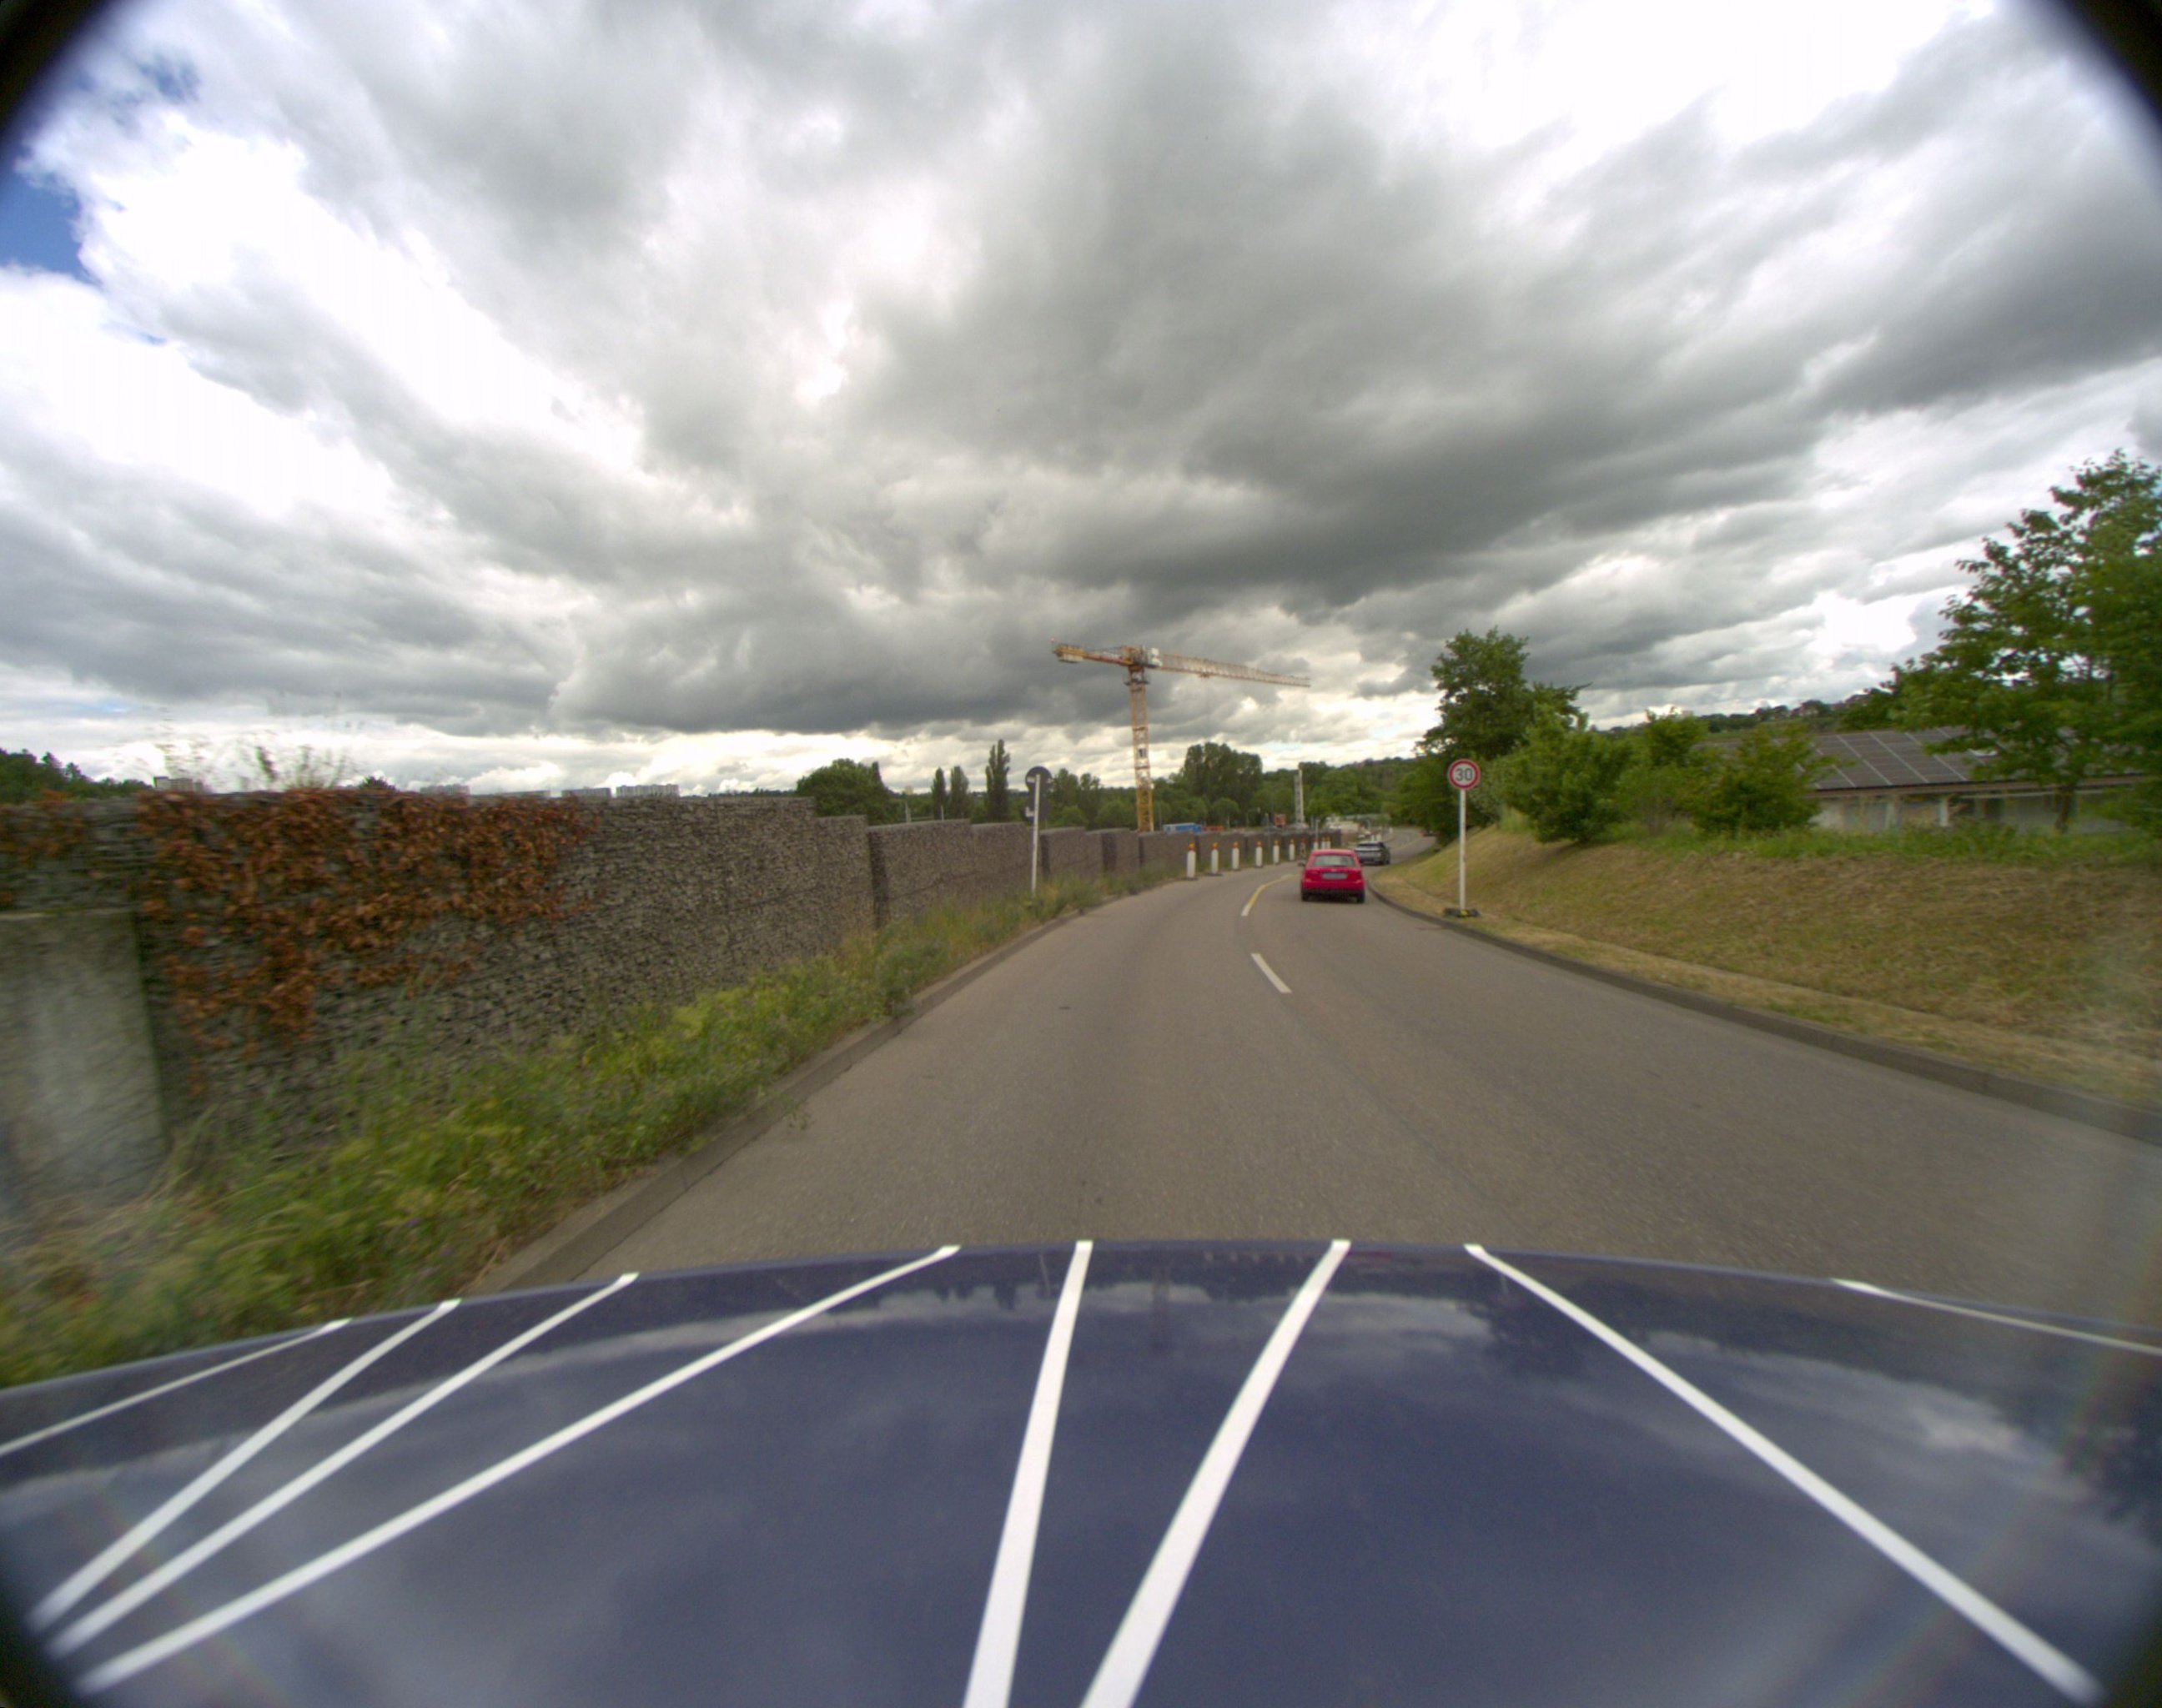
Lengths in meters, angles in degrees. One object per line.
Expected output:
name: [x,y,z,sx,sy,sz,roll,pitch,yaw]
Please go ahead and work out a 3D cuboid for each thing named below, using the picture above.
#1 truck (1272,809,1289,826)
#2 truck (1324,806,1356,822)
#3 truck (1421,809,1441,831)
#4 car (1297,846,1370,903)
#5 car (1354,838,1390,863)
truck: [50.353,-9.311,191.884,3.037,3.877,10.004,-3,3,9]
truck: [55.827,-8.623,163.950,2.761,3.240,7.598,-5,3,-15]
truck: [50.732,-4.859,110.079,2.216,2.998,7.752,1,2,28]
car: [7.263,0.526,22.159,1.743,1.408,3.757,2,2,14]
car: [18.168,-0.217,47.274,1.883,1.469,4.609,1,1,23]
